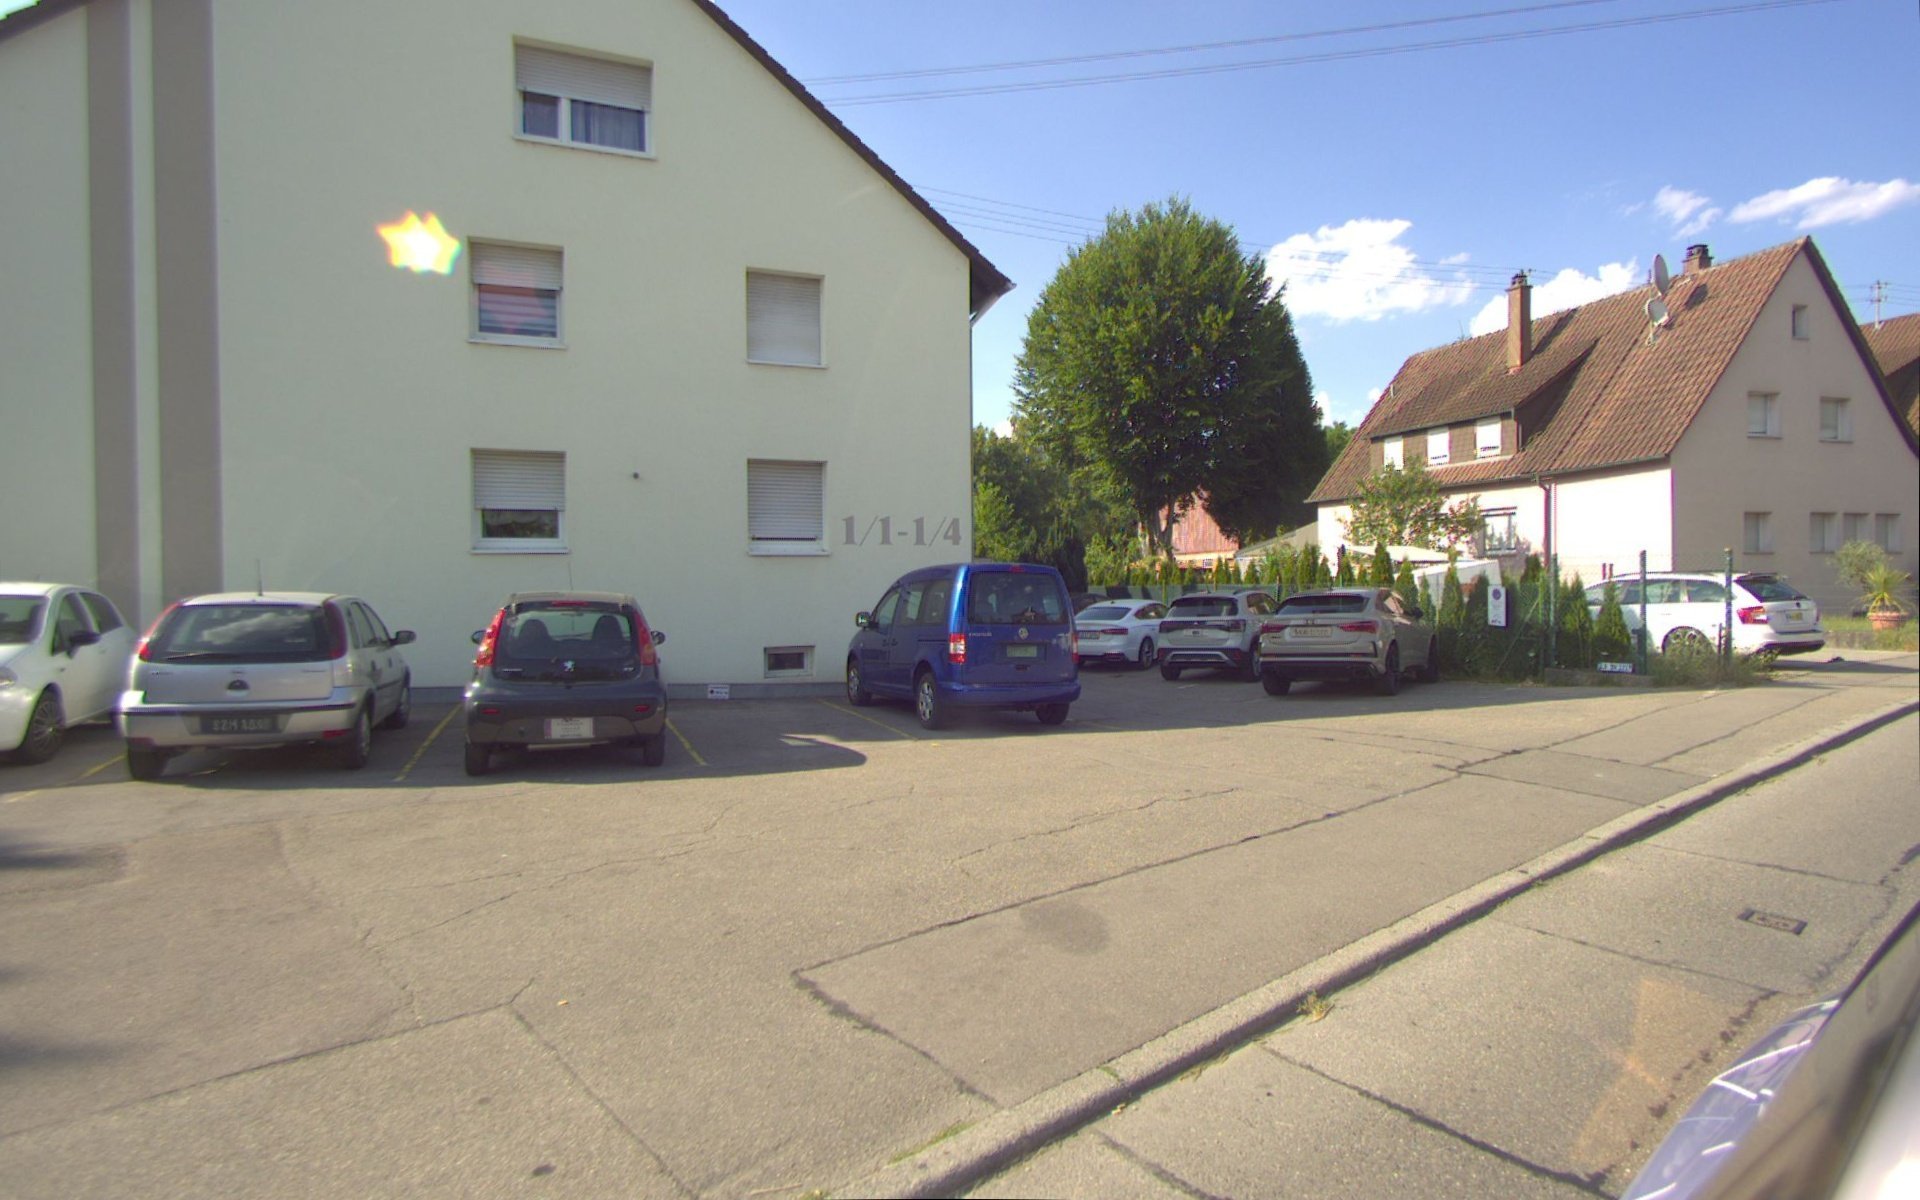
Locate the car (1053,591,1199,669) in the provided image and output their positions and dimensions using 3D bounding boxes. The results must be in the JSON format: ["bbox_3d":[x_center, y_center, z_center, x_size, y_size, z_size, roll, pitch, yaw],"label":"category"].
[{"bbox_3d":[3.636,0.576,21.710,1.669,1.425,3.631,0,1,35],"label":"car"}]

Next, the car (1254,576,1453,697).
[{"bbox_3d":[6.132,0.479,15.477,1.690,1.538,4.221,-4,-1,37],"label":"car"}]

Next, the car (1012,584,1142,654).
[{"bbox_3d":[2.933,0.392,24.892,1.669,1.519,3.631,1,2,35],"label":"car"}]

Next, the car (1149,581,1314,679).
[{"bbox_3d":[5.078,0.481,18.622,1.754,1.564,3.631,-2,0,35],"label":"car"}]

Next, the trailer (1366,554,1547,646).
[{"bbox_3d":[10.111,-0.024,20.641,3.149,1.774,1.528,0,1,-18],"label":"trailer"}]

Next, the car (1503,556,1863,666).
[{"bbox_3d":[11.253,0.106,16.191,1.695,1.476,4.488,-2,1,-21],"label":"car"}]

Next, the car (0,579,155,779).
[{"bbox_3d":[-8.546,0.575,8.789,1.603,1.468,3.762,-1,1,-26],"label":"car"}]

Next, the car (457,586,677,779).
[{"bbox_3d":[-3.610,0.607,9.492,1.615,1.469,3.226,0,1,-20],"label":"car"}]

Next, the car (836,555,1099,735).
[{"bbox_3d":[-0.114,0.414,12.577,1.730,1.809,4.223,-2,1,-22],"label":"car"}]

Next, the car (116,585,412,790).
[{"bbox_3d":[-5.940,0.606,9.007,1.543,1.469,3.143,0,1,-22],"label":"car"}]
